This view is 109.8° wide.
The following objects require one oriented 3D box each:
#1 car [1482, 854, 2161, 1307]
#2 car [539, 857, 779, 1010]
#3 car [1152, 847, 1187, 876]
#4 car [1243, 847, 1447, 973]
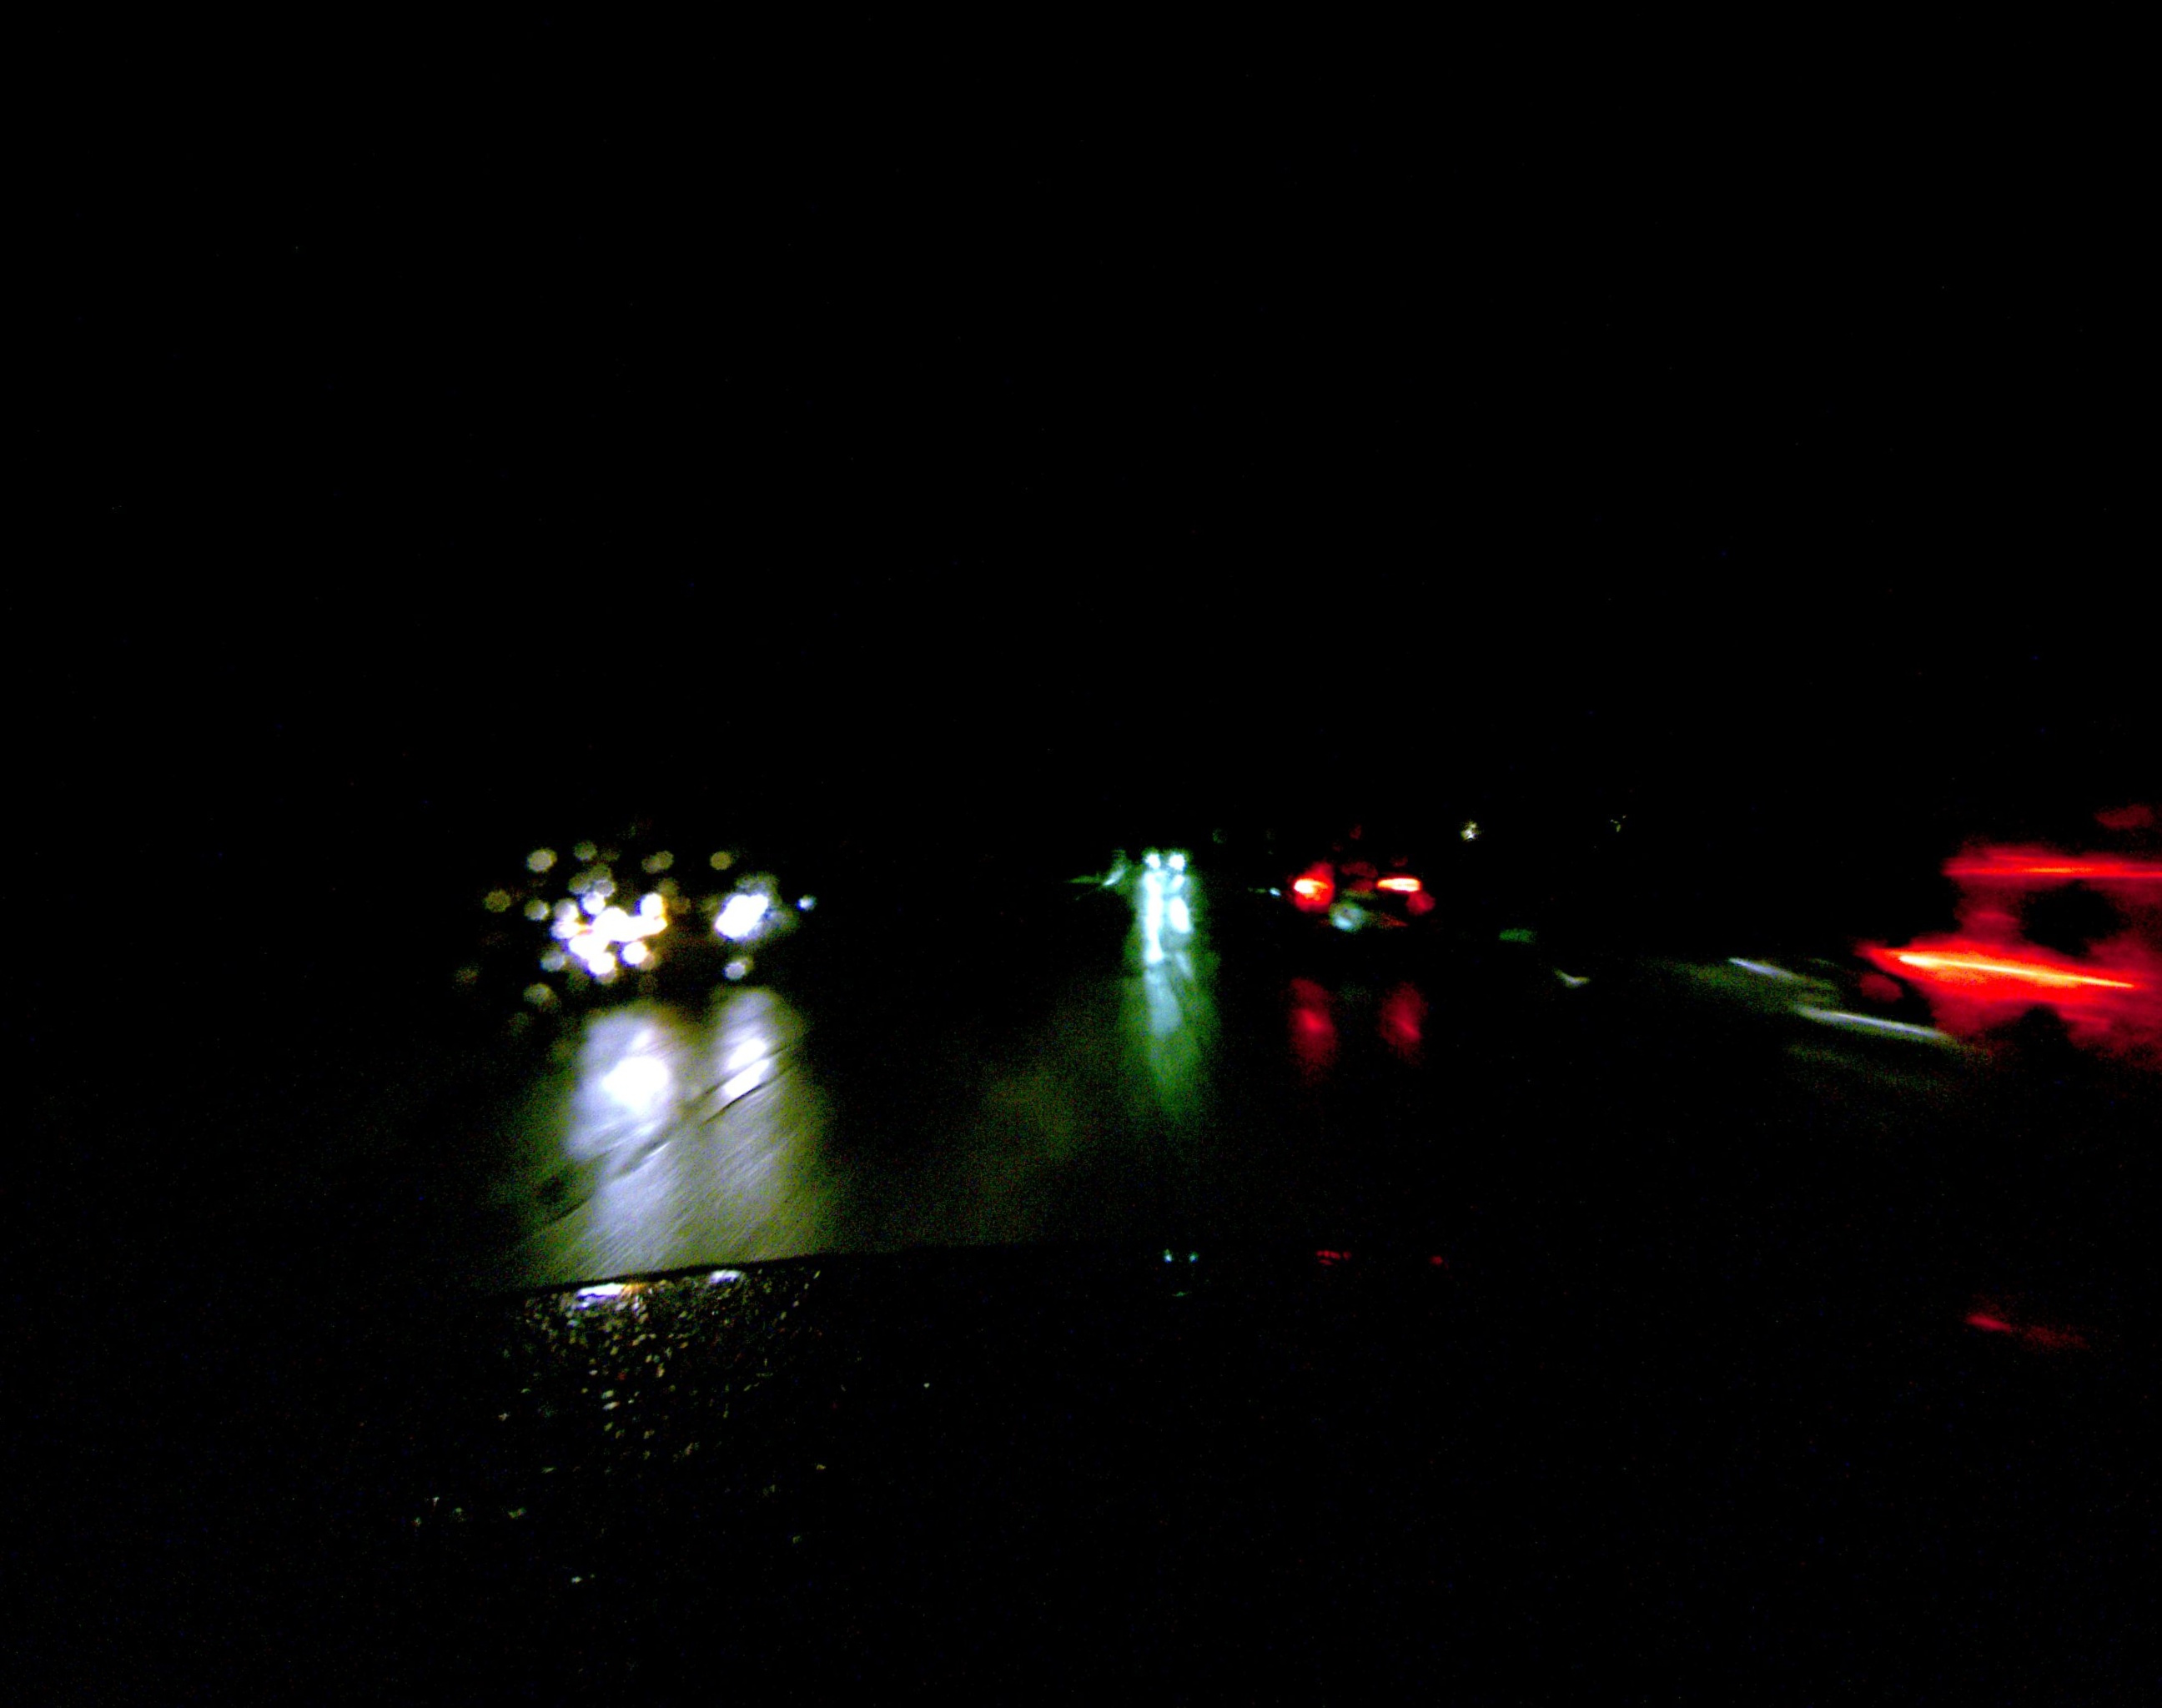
[{"bbox_3d":[4.266,0.784,4.533,1.716,1.467,3.869,-3,0,2],"label":"car"},{"bbox_3d":[-6.433,0.988,11.280,1.964,1.682,4.762,-5,2,-43],"label":"car"},{"bbox_3d":[5.792,0.462,49.547,1.958,1.712,4.002,-1,2,10],"label":"car"},{"bbox_3d":[3.938,0.726,12.211,1.960,1.513,4.399,-3,1,4],"label":"car"}]
